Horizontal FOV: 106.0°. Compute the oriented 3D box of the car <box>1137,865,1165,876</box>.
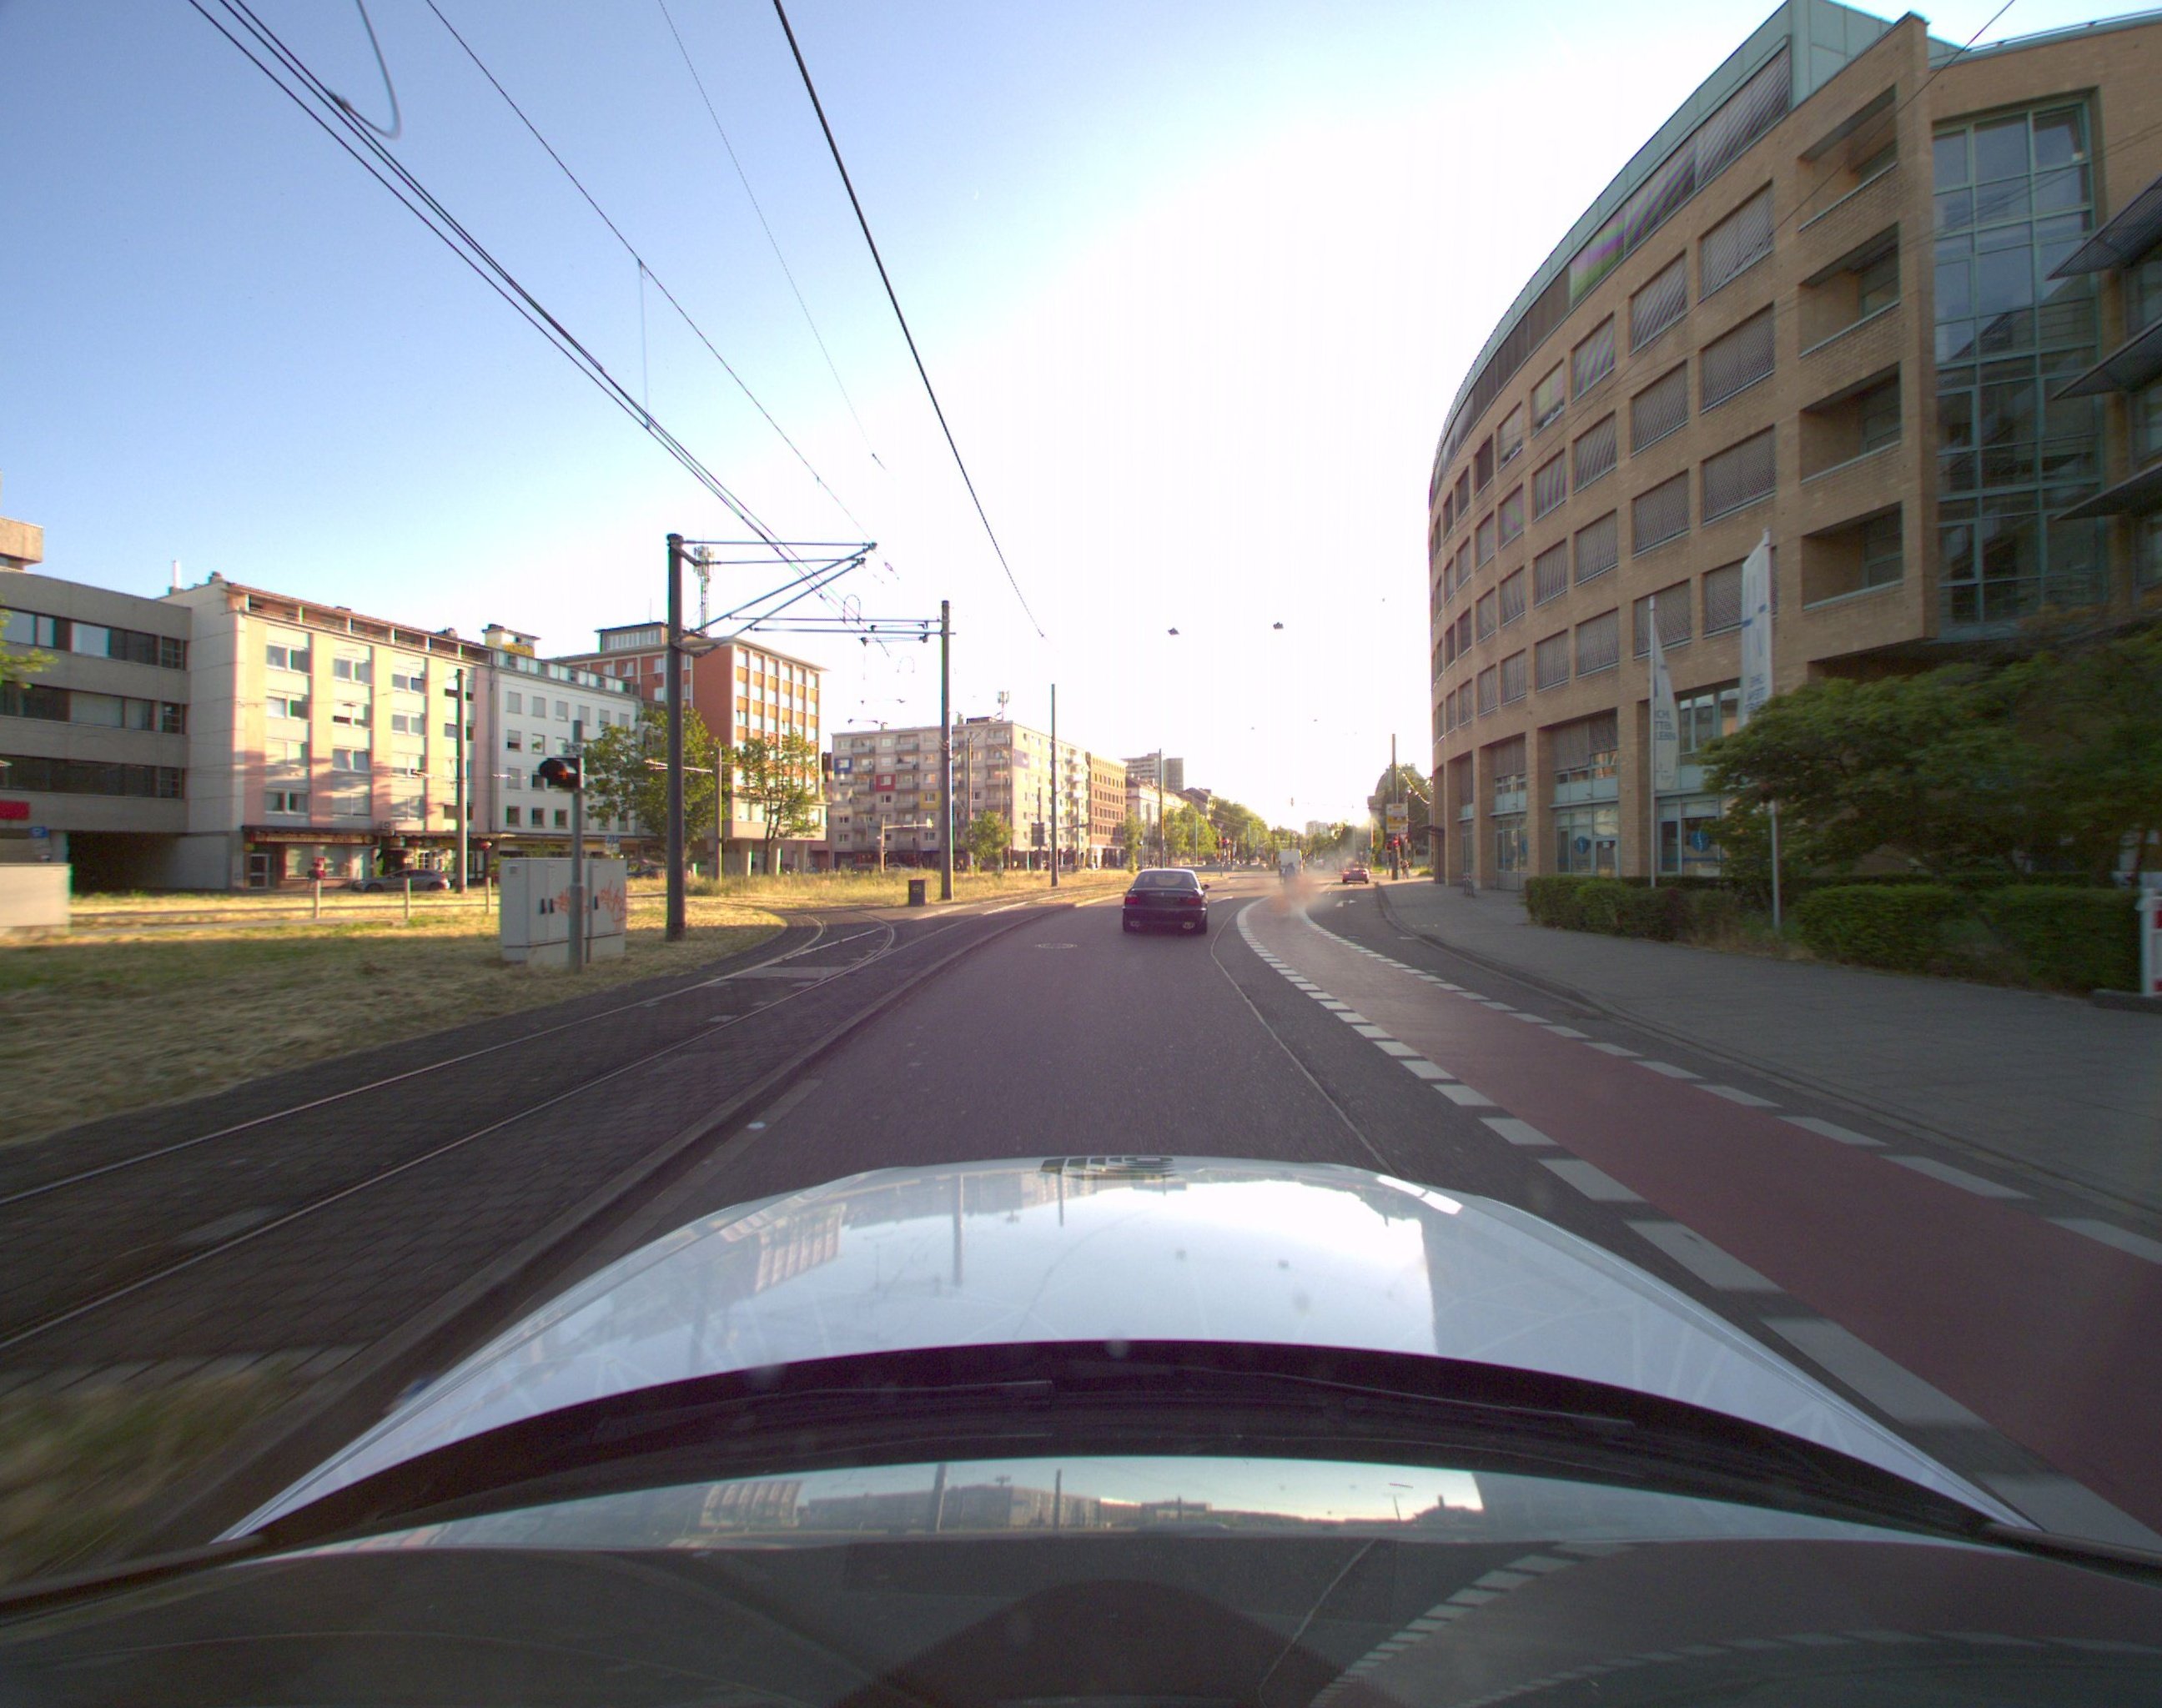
[{"bbox_3d":[10.264,2.431,118.907,3.964,1.434,1.722,1,1,8],"label":"car"}]

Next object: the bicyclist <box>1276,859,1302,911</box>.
[{"bbox_3d":[6.084,0.890,23.799,0.650,1.483,1.042,1,-1,17],"label":"bicyclist"}]

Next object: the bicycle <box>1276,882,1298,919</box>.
[{"bbox_3d":[6.063,1.344,23.916,0.511,0.954,1.783,1,0,17],"label":"bicycle"}]

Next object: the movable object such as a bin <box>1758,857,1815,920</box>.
[{"bbox_3d":[17.092,0.811,19.765,0.961,1.437,1.353,-1,0,38],"label":"movable object such as a bin"}]

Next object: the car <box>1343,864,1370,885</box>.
[{"bbox_3d":[19.816,1.441,58.490,1.769,1.354,4.287,0,0,19],"label":"car"}]

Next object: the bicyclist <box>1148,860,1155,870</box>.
[{"bbox_3d":[10.155,1.534,117.194,0.848,1.442,0.665,1,1,8],"label":"bicyclist"}]

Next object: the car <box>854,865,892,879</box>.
[{"bbox_3d":[-24.621,2.139,96.456,3.837,1.585,1.811,-1,0,14],"label":"car"}]

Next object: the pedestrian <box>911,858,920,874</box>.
[{"bbox_3d":[-19.460,1.444,95.549,0.699,1.852,0.740,-1,0,20],"label":"pedestrian"}]

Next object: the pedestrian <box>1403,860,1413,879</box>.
[{"bbox_3d":[27.278,1.285,67.999,0.671,1.569,0.804,-1,0,17],"label":"pedestrian"}]

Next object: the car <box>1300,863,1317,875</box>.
[{"bbox_3d":[29.183,1.874,104.354,1.723,1.386,4.020,-1,0,20],"label":"car"}]

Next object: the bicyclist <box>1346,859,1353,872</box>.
[{"bbox_3d":[31.758,1.358,96.415,0.791,1.571,0.666,-1,0,17],"label":"bicyclist"}]

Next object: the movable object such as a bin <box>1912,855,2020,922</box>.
[{"bbox_3d":[19.646,0.751,18.108,1.332,1.424,0.927,-1,0,12],"label":"movable object such as a bin"}]

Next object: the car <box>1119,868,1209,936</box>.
[{"bbox_3d":[2.046,1.021,19.068,1.819,1.354,4.651,1,-1,8],"label":"car"}]

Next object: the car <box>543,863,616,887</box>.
[{"bbox_3d":[-35.227,1.470,57.218,1.737,1.526,4.025,-1,0,42],"label":"car"}]

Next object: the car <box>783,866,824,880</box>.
[{"bbox_3d":[-34.182,2.321,100.332,4.249,1.585,1.997,-1,0,14],"label":"car"}]

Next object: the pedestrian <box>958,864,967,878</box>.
[{"bbox_3d":[-13.923,1.977,95.772,0.732,1.669,0.787,-1,0,20],"label":"pedestrian"}]

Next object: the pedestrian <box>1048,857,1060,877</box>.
[{"bbox_3d":[-2.394,1.124,72.034,0.712,1.762,0.654,-1,0,41],"label":"pedestrian"}]

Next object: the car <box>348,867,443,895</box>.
[{"bbox_3d":[-39.399,1.518,46.851,1.690,1.390,4.024,-1,0,43],"label":"car"}]

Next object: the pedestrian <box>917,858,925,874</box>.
[{"bbox_3d":[-18.698,1.440,95.178,0.597,1.847,0.826,-1,0,20],"label":"pedestrian"}]

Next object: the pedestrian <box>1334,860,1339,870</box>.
[{"bbox_3d":[37.496,1.603,119.370,0.611,1.475,0.805,-1,0,24],"label":"pedestrian"}]

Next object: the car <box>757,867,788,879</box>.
[{"bbox_3d":[-45.541,2.822,120.213,3.837,1.585,1.811,-1,0,14],"label":"car"}]

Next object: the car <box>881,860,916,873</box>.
[{"bbox_3d":[-22.844,1.574,102.078,3.837,1.585,1.811,-1,0,14],"label":"car"}]

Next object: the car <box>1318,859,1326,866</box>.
[{"bbox_3d":[57.484,1.940,193.990,1.781,1.566,4.017,-1,0,16],"label":"car"}]

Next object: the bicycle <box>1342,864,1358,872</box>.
[{"bbox_3d":[31.839,1.621,96.391,1.714,0.970,0.612,0,1,18],"label":"bicycle"}]

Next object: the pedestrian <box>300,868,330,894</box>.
[{"bbox_3d":[-46.756,1.661,49.729,1.109,1.528,0.857,-1,0,17],"label":"pedestrian"}]

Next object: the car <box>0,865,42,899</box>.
[{"bbox_3d":[-52.264,1.350,38.257,4.023,1.552,1.738,-1,0,-45],"label":"car"}]

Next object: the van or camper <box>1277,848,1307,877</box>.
[{"bbox_3d":[19.519,0.747,75.169,2.244,2.625,4.526,-1,0,20],"label":"van or camper"}]

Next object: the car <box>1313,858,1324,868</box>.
[{"bbox_3d":[40.000,1.534,137.176,1.781,1.566,4.017,-1,0,16],"label":"car"}]
